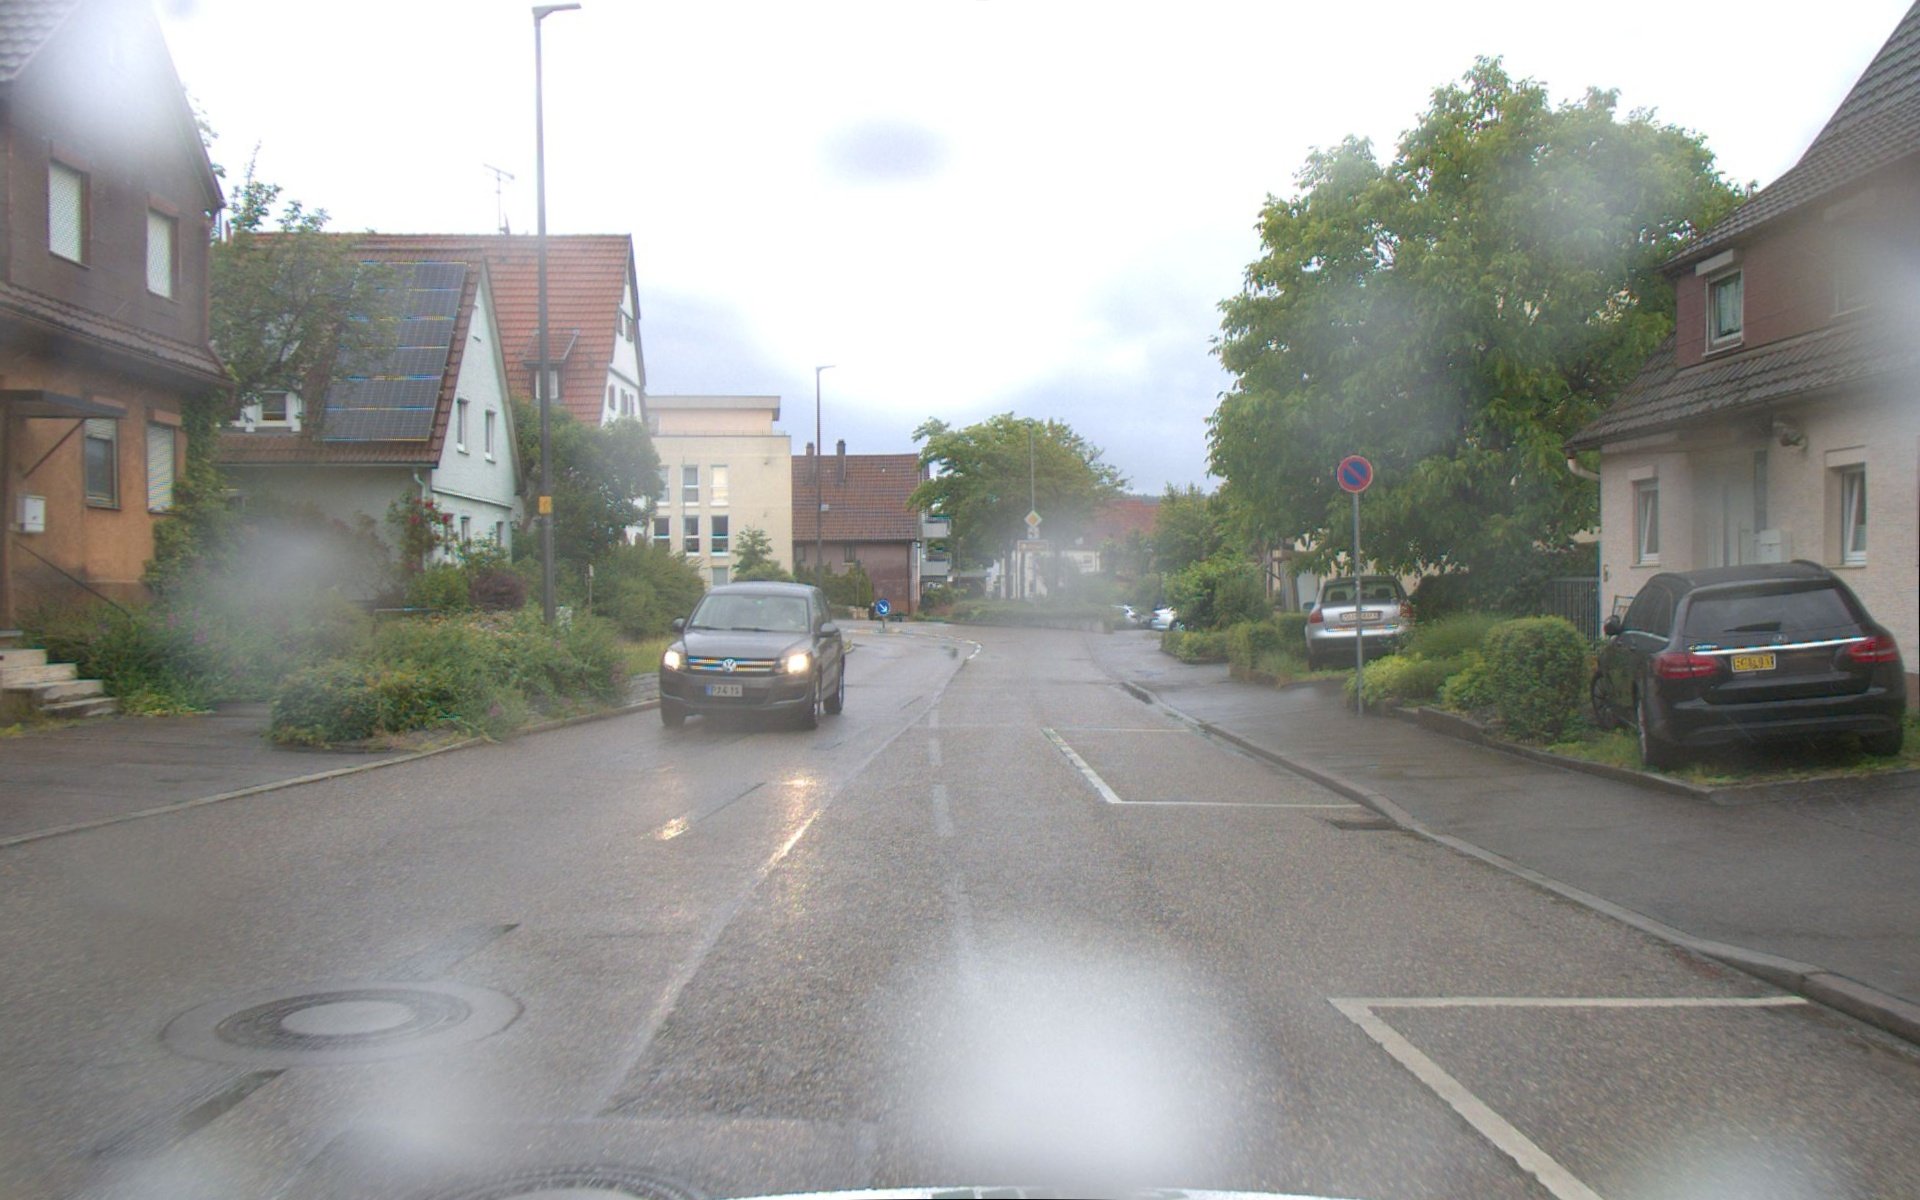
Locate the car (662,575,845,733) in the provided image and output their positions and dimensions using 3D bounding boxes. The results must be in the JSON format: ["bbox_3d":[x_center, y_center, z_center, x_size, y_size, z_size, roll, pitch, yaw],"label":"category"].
[{"bbox_3d":[-2.344,0.580,19.683,1.761,1.669,3.999,-1,0,-1],"label":"car"}]

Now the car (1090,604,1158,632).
[{"bbox_3d":[10.053,1.076,101.410,3.902,1.655,2.002,-1,0,15],"label":"car"}]

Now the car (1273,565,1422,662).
[{"bbox_3d":[6.186,0.207,26.781,1.604,1.455,3.677,-1,0,1],"label":"car"}]

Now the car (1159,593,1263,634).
[{"bbox_3d":[9.728,0.520,64.064,3.869,1.433,2.002,-2,-1,10],"label":"car"}]

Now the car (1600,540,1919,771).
[{"bbox_3d":[6.250,0.343,13.263,1.722,1.417,4.002,-7,0,18],"label":"car"}]
